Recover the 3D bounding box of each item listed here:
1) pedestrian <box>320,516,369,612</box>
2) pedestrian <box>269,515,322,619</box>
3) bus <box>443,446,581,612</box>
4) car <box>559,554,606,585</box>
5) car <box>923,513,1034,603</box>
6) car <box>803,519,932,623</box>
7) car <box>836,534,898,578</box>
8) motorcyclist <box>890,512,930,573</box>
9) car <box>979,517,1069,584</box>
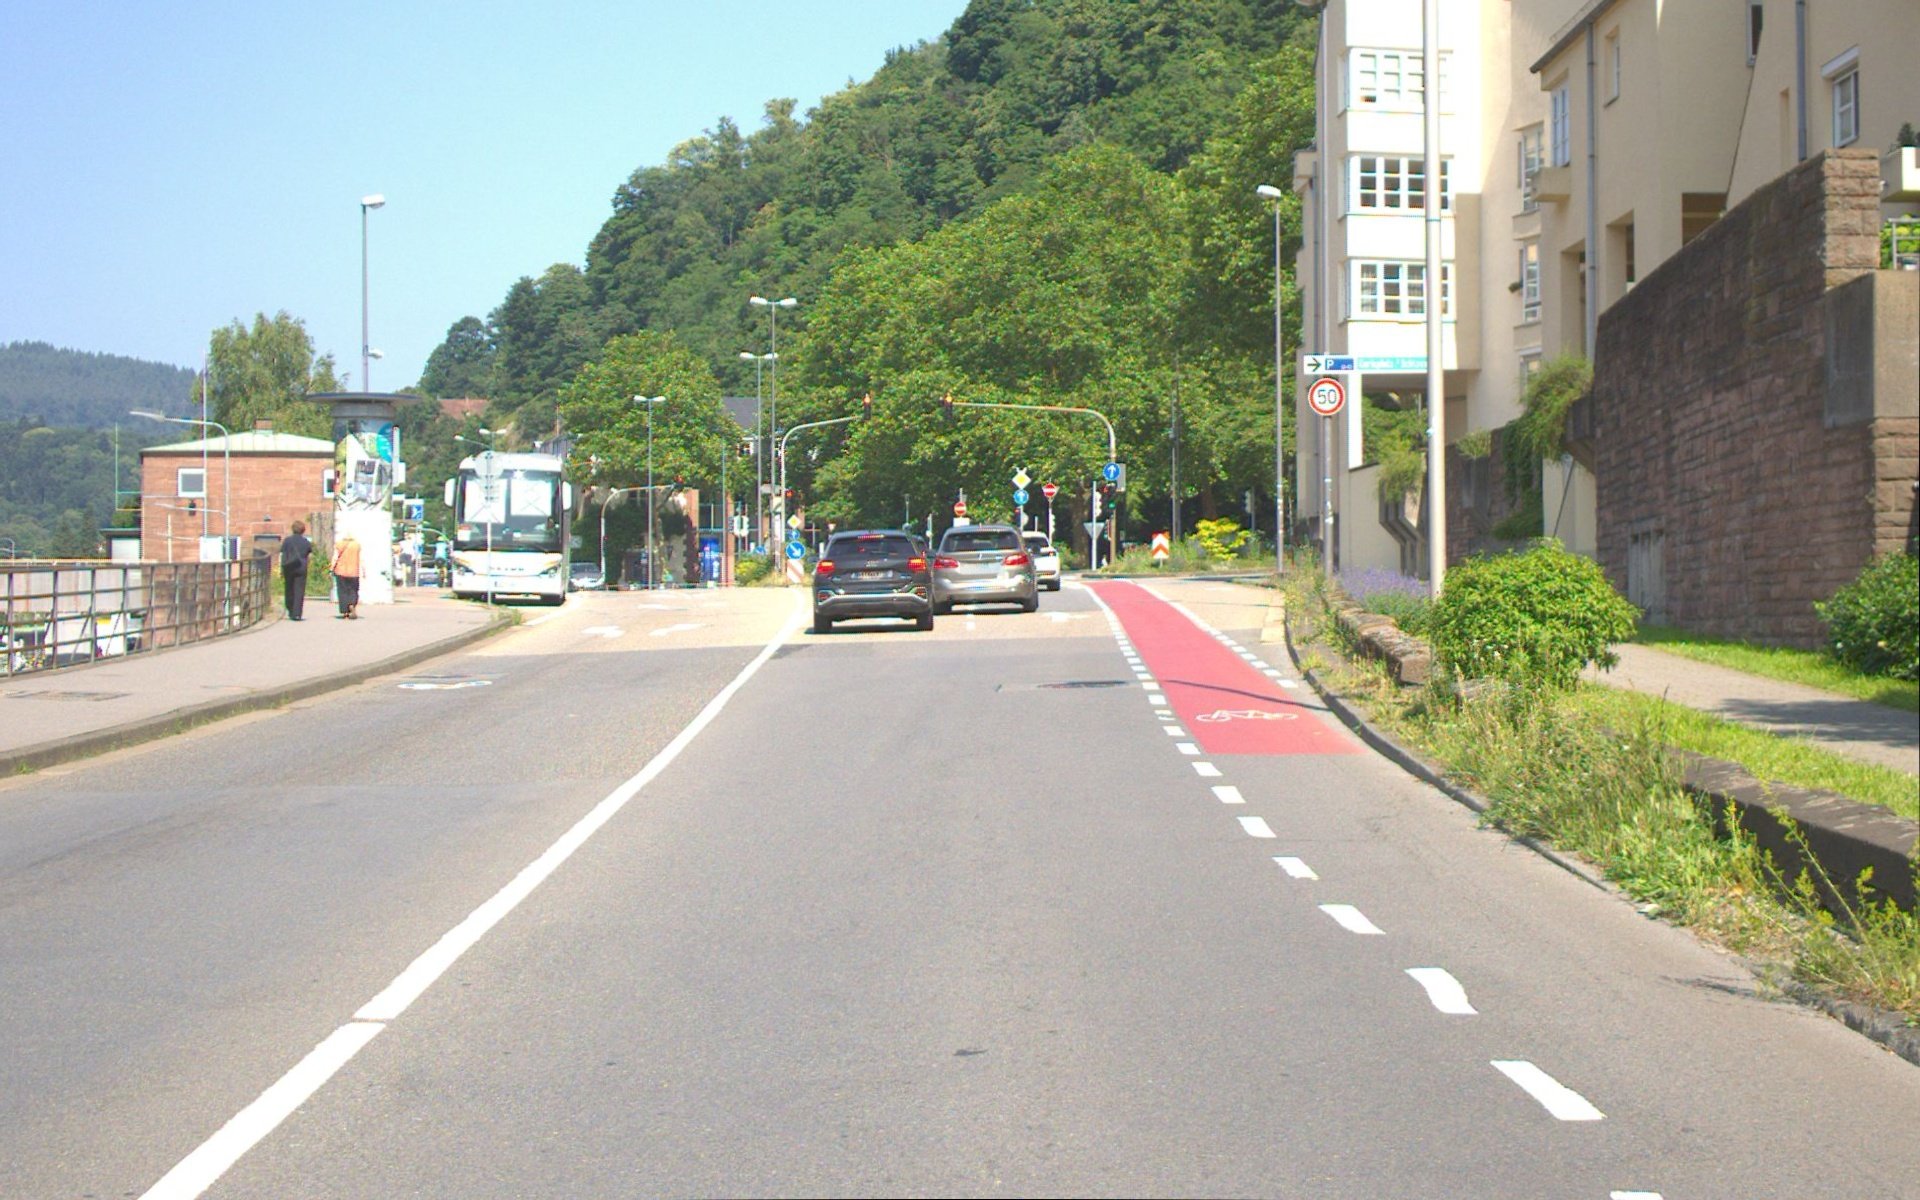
[{"bbox_3d":[-10.491,-0.607,58.646,0.702,1.615,0.817,-1,0,-3],"label":"pedestrian"},{"bbox_3d":[-10.976,-0.548,56.783,0.683,1.703,0.773,-1,1,0],"label":"pedestrian"},{"bbox_3d":[-11.050,-1.700,85.763,2.956,3.788,13.246,-1,1,-6],"label":"bus"},{"bbox_3d":[-18.677,-1.528,169.954,1.993,1.427,4.168,-2,1,-10],"label":"car"},{"bbox_3d":[0.300,-0.733,60.574,1.888,1.516,4.306,0,1,0],"label":"car"},{"bbox_3d":[-1.360,-0.442,51.934,1.869,1.508,4.151,0,1,0],"label":"car"},{"bbox_3d":[-3.041,-1.444,111.267,1.866,1.354,4.001,-2,1,-3],"label":"car"},{"bbox_3d":[-1.426,-1.622,97.156,1.075,1.678,1.156,-2,1,-1],"label":"motorcyclist"},{"bbox_3d":[1.477,-1.162,81.425,1.993,1.528,4.859,0,1,0],"label":"car"}]
